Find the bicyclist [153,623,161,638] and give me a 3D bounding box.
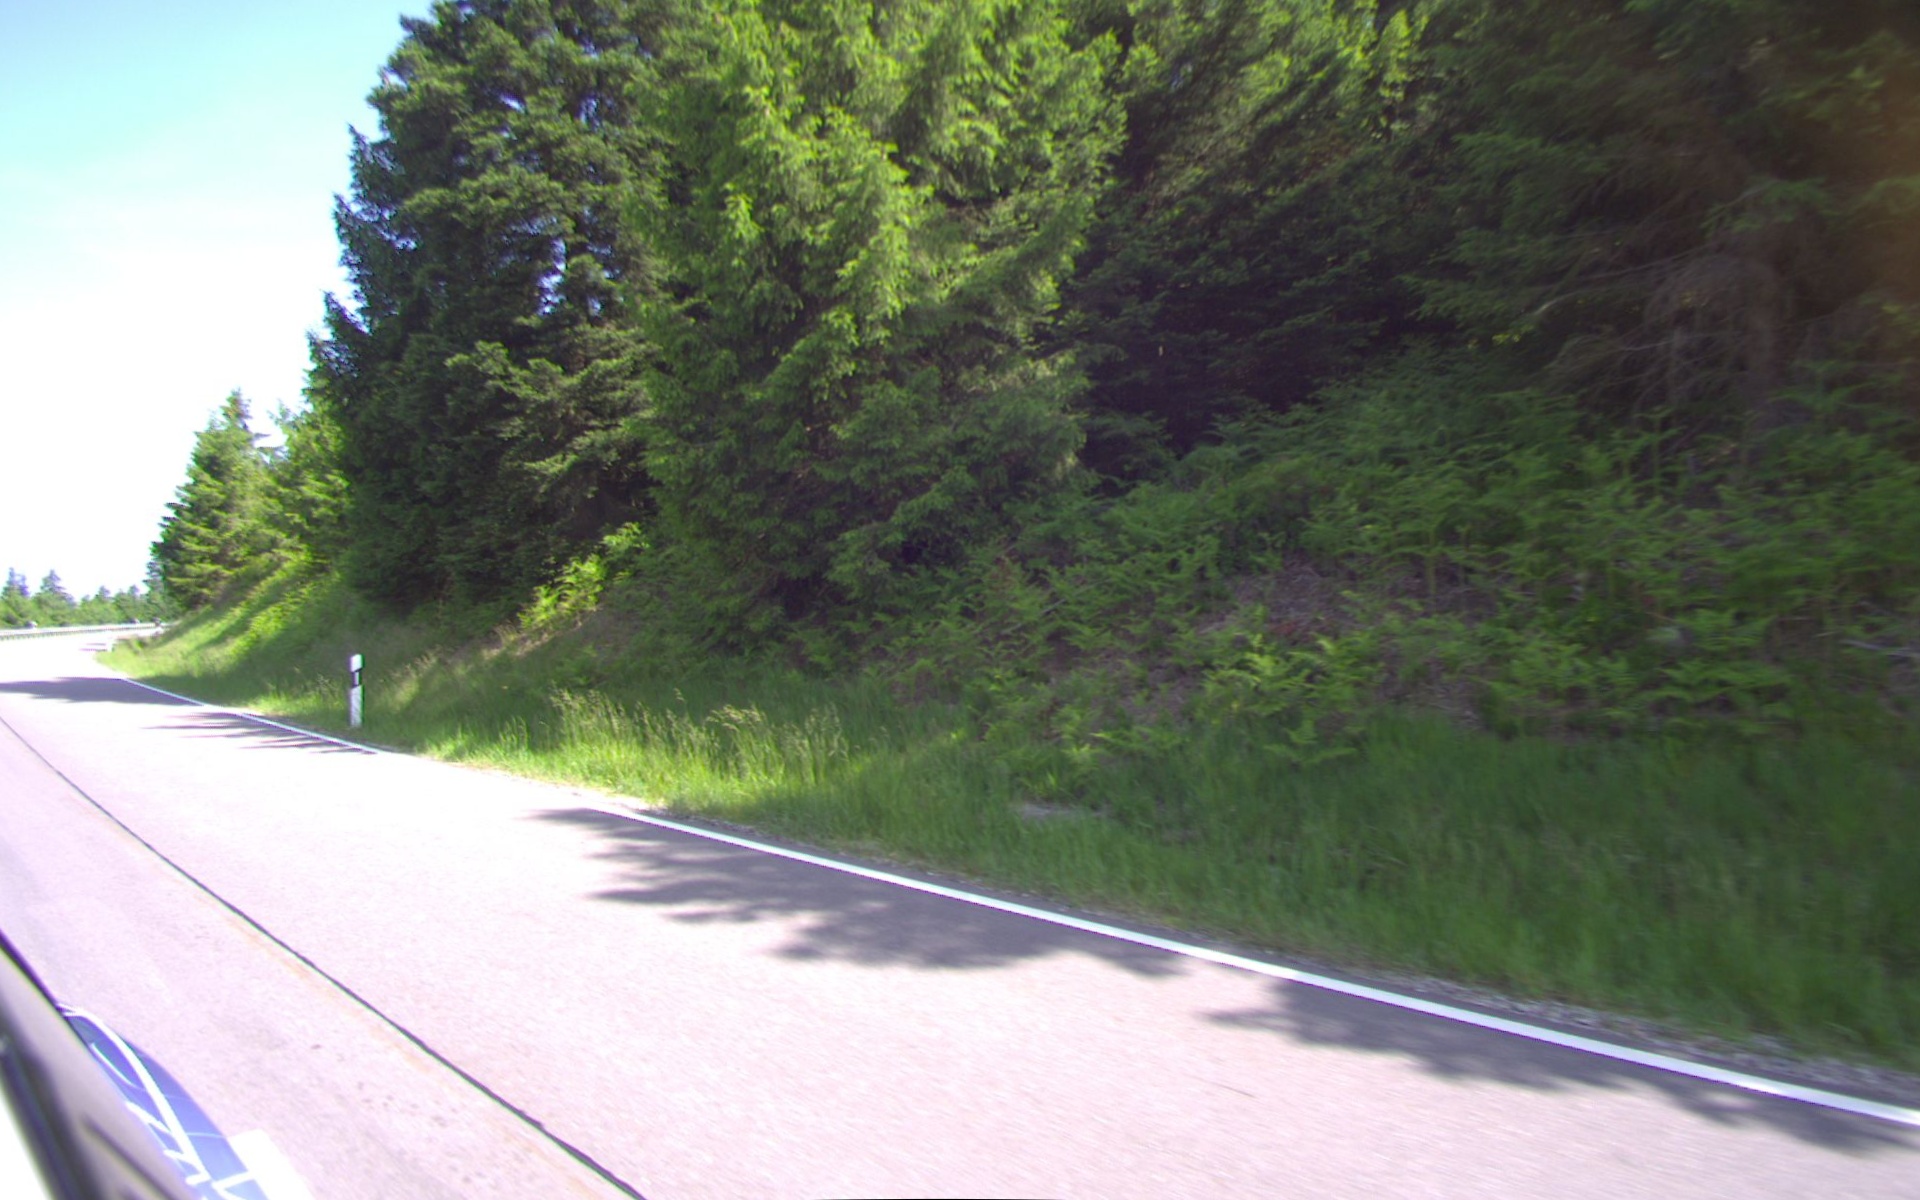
[{"bbox_3d":[-77.013,2.898,97.045,0.534,1.462,0.986,2,-2,-36],"label":"bicyclist"}]
